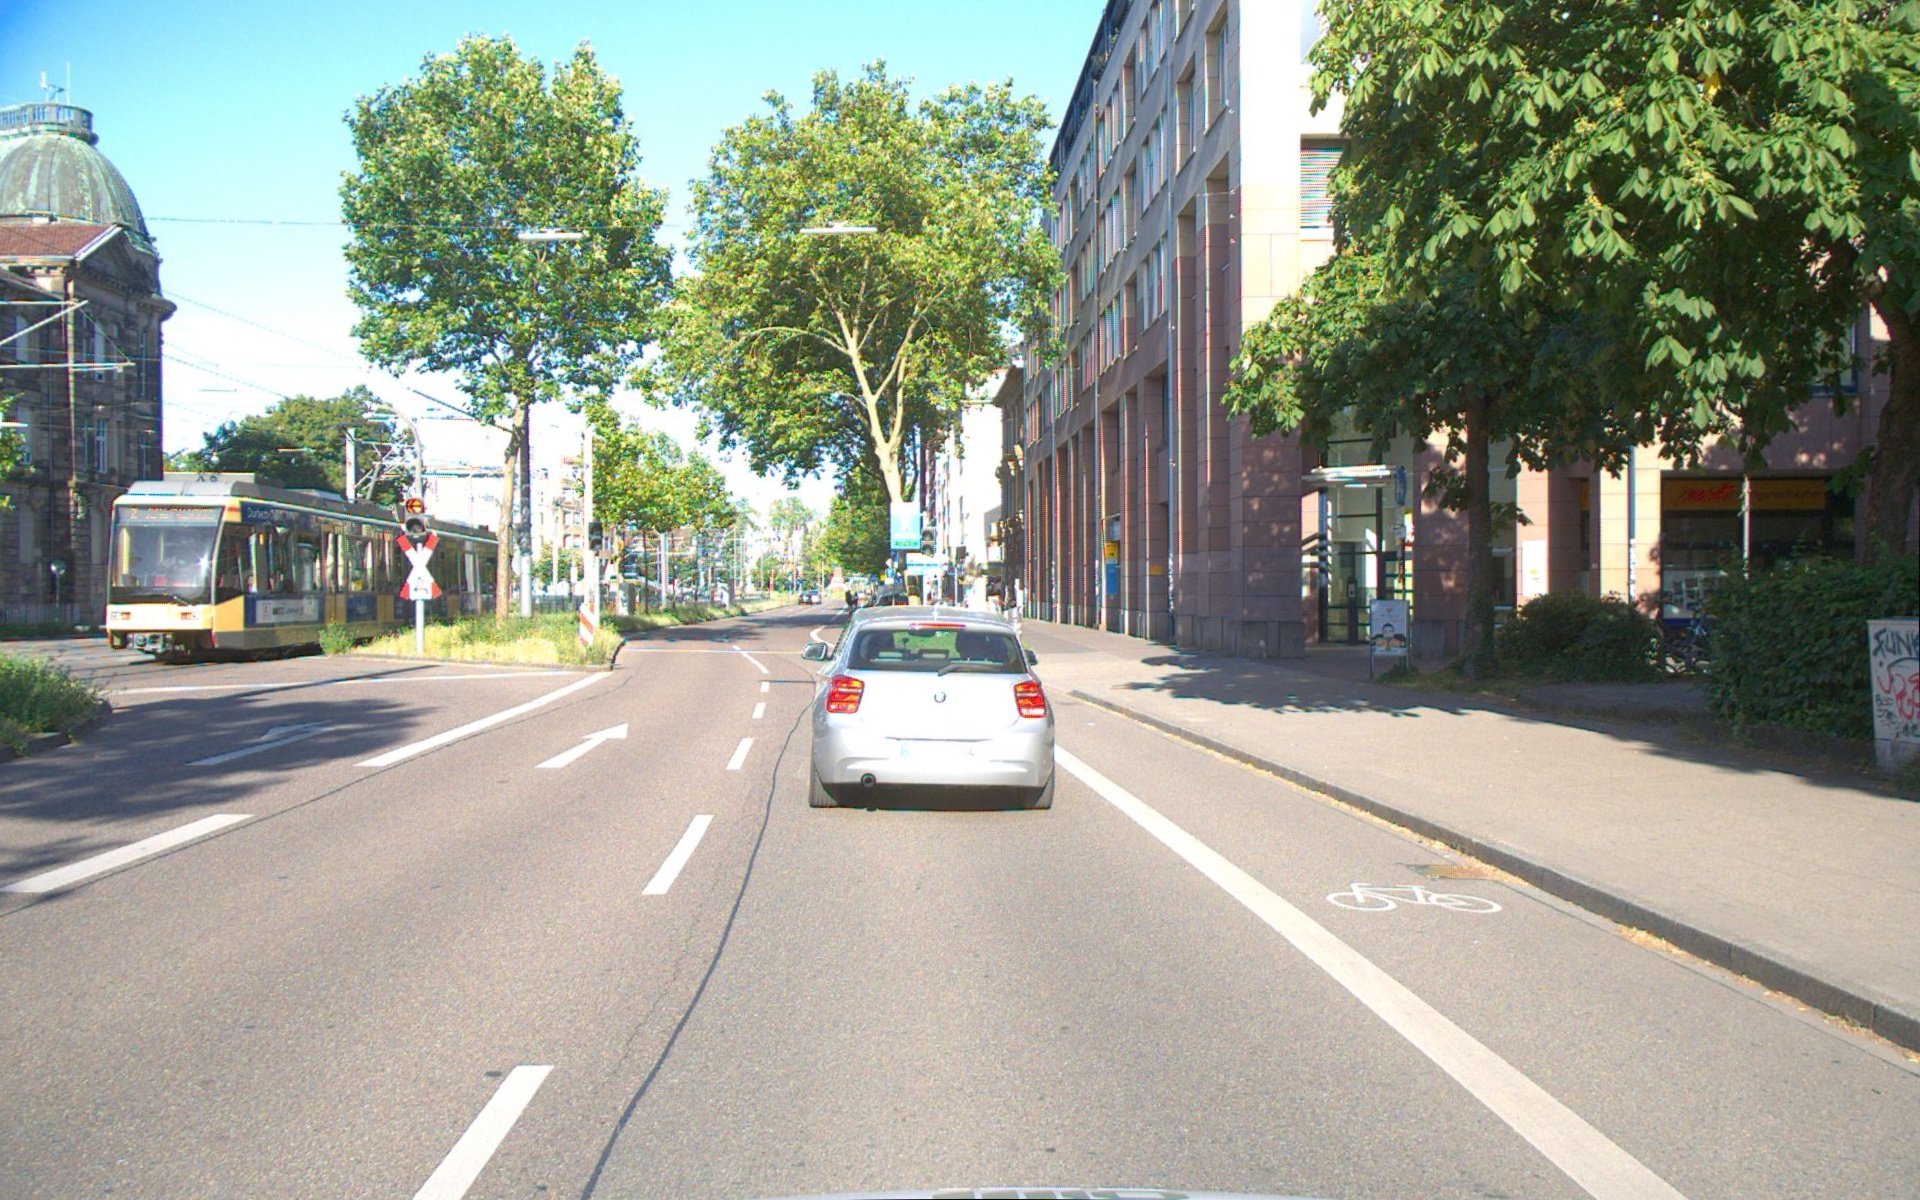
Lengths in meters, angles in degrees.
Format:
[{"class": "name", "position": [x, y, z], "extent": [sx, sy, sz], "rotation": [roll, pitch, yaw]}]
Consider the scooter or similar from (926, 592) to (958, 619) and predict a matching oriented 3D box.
[{"class": "scooter or similar", "position": [-0.866, 0.245, 78.321], "extent": [1.510, 1.259, 0.448], "rotation": [-1, 0, -3]}]

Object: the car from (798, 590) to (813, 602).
[{"class": "car", "position": [-18.601, -0.490, 199.297], "extent": [1.693, 1.496, 4.405], "rotation": [0, 0, -6]}]

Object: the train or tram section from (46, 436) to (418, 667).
[{"class": "train or tram section", "position": [-14.770, -0.845, 35.402], "extent": [2.872, 3.878, 14.256], "rotation": [1, 0, -6]}]

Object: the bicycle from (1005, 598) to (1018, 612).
[{"class": "bicycle", "position": [2.940, 0.290, 94.685], "extent": [0.538, 0.787, 1.661], "rotation": [-2, 0, -4]}]

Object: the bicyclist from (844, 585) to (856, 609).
[{"class": "bicyclist", "position": [-7.264, -0.174, 109.410], "extent": [0.769, 1.558, 0.894], "rotation": [1, 0, -4]}]

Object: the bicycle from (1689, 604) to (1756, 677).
[{"class": "bicycle", "position": [11.050, 0.571, 24.014], "extent": [0.410, 1.014, 2.223], "rotation": [0, 0, 13]}]

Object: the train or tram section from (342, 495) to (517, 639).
[{"class": "train or tram section", "position": [-16.328, -0.948, 51.792], "extent": [2.895, 3.965, 10.789], "rotation": [1, 0, -6]}]

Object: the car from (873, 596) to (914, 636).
[{"class": "car", "position": [-2.763, 0.642, 68.958], "extent": [1.634, 1.598, 4.278], "rotation": [1, 0, -2]}]

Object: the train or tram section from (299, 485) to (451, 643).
[{"class": "train or tram section", "position": [-15.623, -0.925, 44.450], "extent": [2.898, 3.965, 3.861], "rotation": [1, 0, -6]}]

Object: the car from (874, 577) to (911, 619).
[{"class": "car", "position": [-3.518, -0.123, 85.488], "extent": [1.819, 2.049, 4.720], "rotation": [1, 0, -3]}]

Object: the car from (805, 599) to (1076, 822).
[{"class": "car", "position": [-0.192, 0.733, 12.957], "extent": [1.762, 1.439, 3.998], "rotation": [1, 0, -2]}]

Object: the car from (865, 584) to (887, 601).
[{"class": "car", "position": [-7.716, -0.724, 151.755], "extent": [1.998, 1.535, 4.591], "rotation": [0, 0, -3]}]

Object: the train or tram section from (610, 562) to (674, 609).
[{"class": "train or tram section", "position": [-25.868, -1.197, 135.692], "extent": [2.906, 3.544, 21.196], "rotation": [1, 0, -5]}]

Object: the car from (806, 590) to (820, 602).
[{"class": "car", "position": [-18.399, -0.520, 207.520], "extent": [1.612, 1.446, 3.997], "rotation": [1, 0, -3]}]

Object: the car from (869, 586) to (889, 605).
[{"class": "car", "position": [-7.100, -0.440, 144.163], "extent": [1.661, 1.528, 3.799], "rotation": [-3, 1, -4]}]

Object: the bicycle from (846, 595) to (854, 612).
[{"class": "bicycle", "position": [-7.242, 0.225, 109.311], "extent": [0.489, 1.107, 1.996], "rotation": [1, 0, -3]}]
